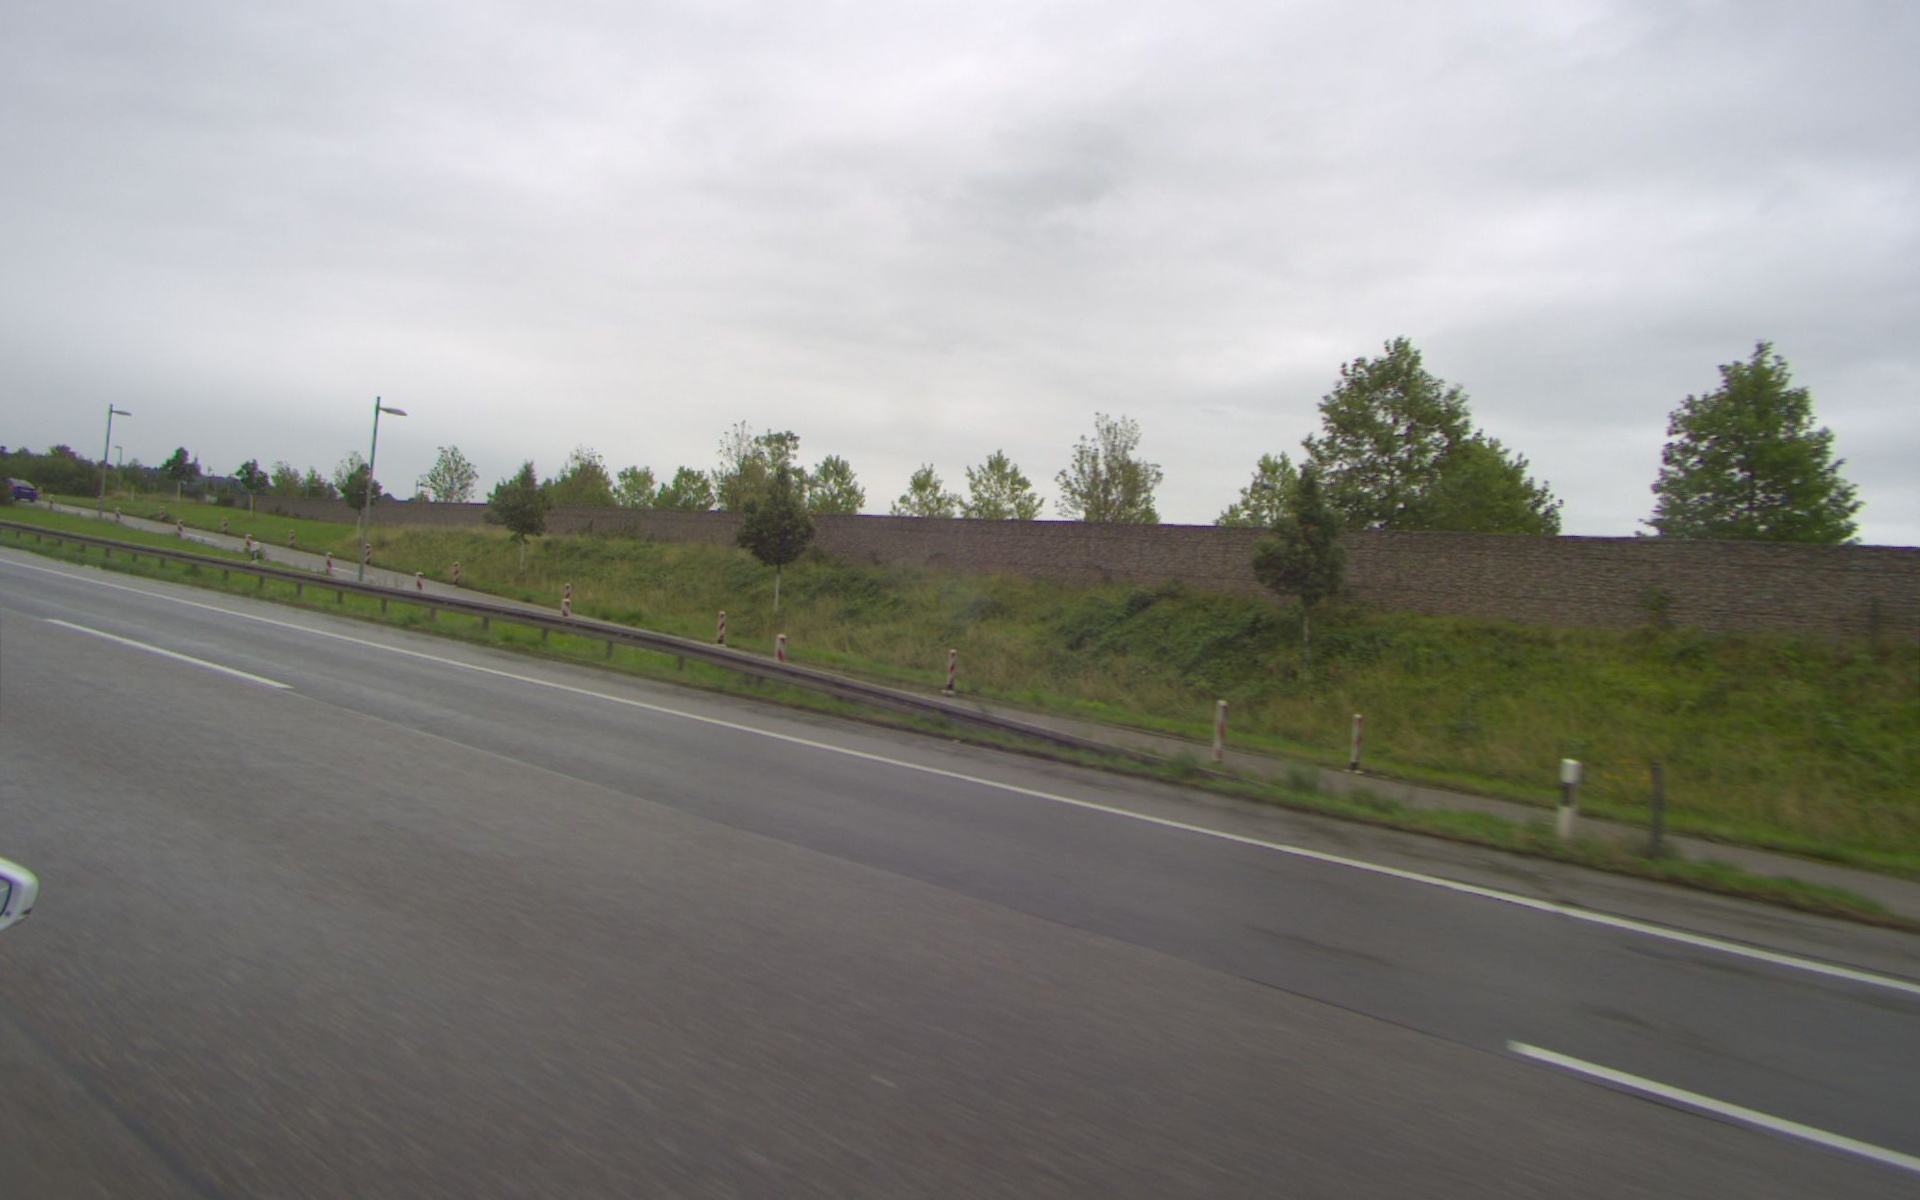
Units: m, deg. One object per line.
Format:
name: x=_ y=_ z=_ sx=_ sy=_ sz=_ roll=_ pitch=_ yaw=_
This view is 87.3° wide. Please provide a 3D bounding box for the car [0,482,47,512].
car: x=-67.018 y=-7.367 z=71.860 sx=3.939 sy=1.731 sz=1.921 roll=7 pitch=0 yaw=37
